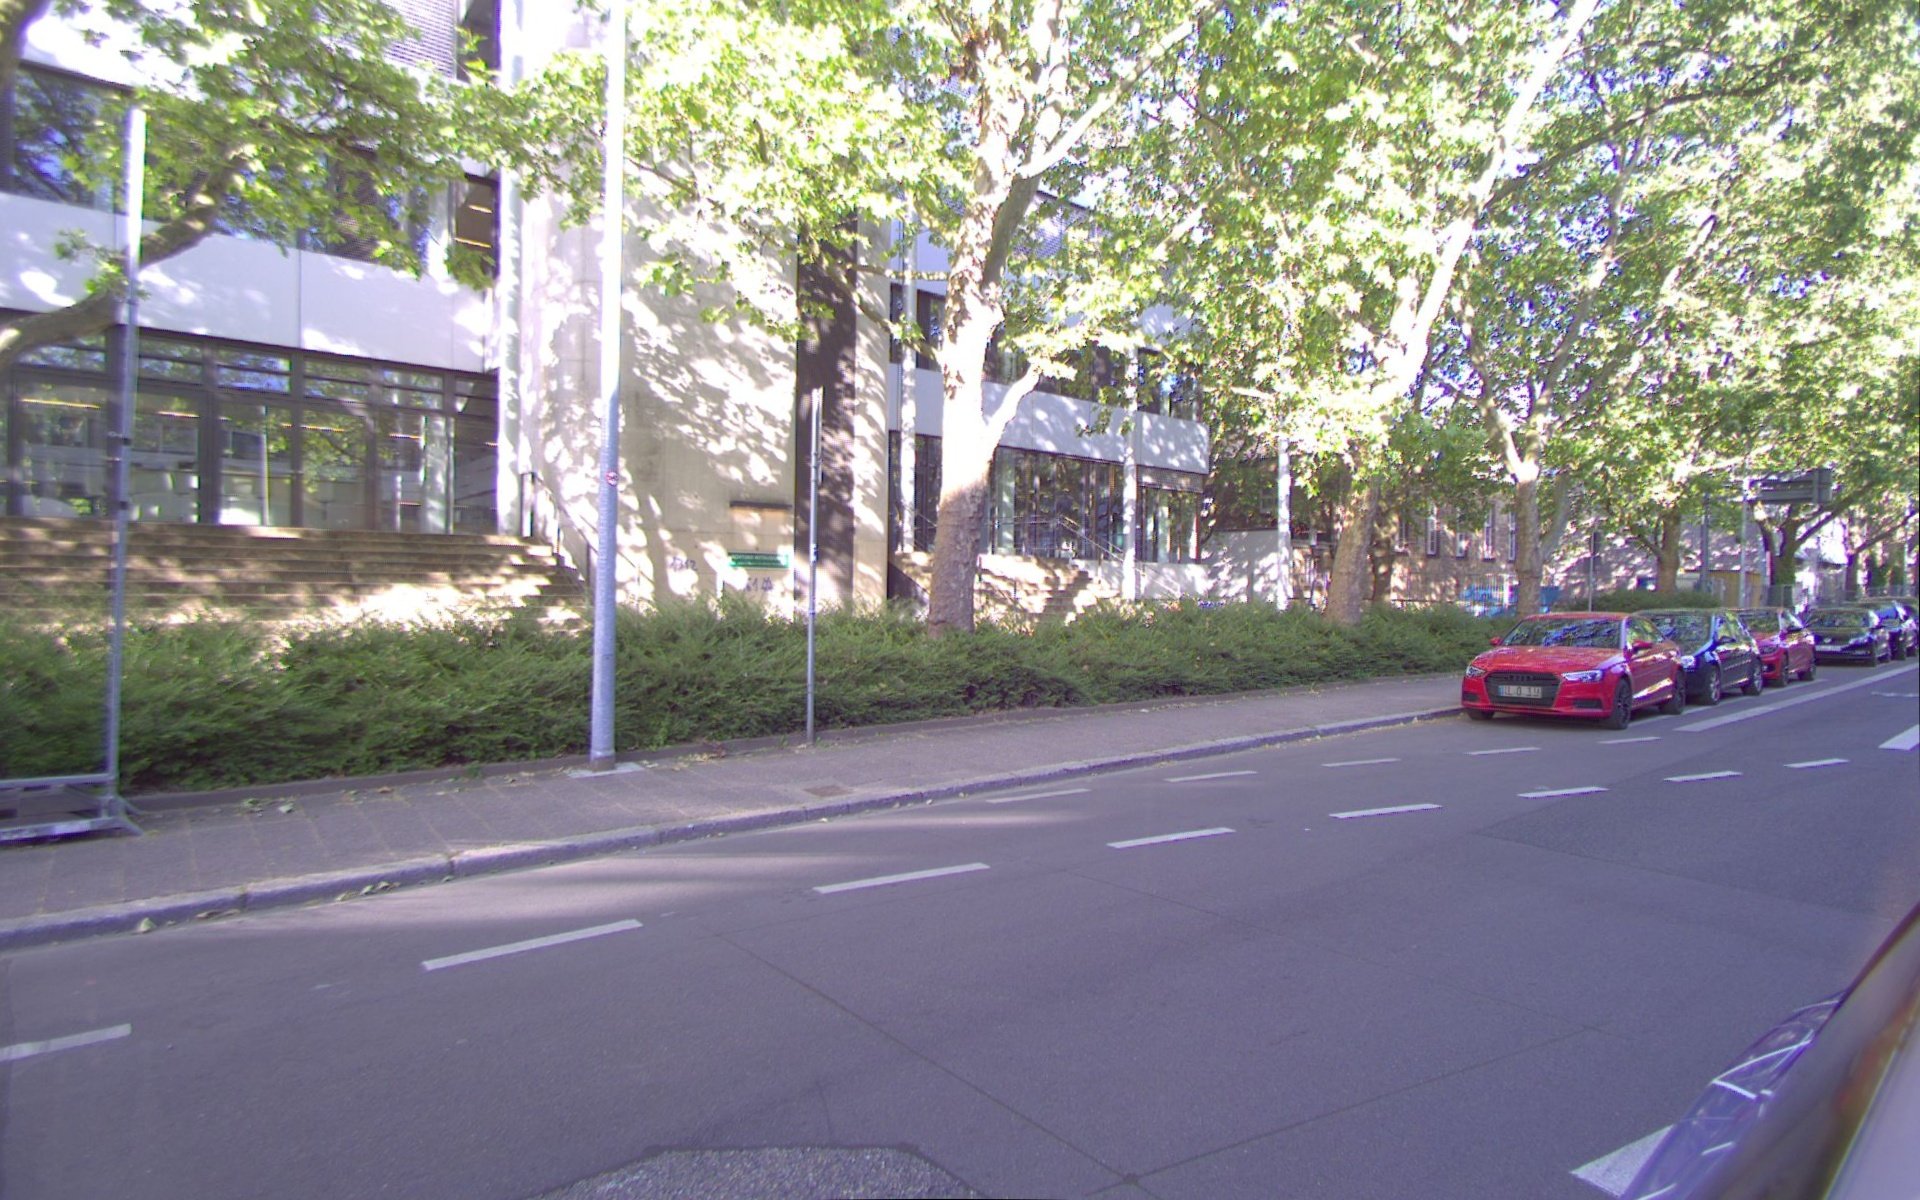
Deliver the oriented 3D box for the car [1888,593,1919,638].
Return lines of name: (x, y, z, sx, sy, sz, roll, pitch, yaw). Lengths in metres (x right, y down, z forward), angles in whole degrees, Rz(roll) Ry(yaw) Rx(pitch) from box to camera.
car: (35.991, 0.561, 37.447, 4.070, 1.585, 1.997, -1, 0, -41)

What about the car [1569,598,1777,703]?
car: (11.760, 0.727, 16.620, 3.581, 1.478, 1.997, -1, 0, -41)

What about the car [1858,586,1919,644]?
car: (31.279, 0.447, 33.309, 4.493, 1.809, 1.997, -1, 0, -41)

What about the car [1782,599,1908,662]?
car: (22.814, 0.720, 26.059, 3.527, 1.474, 1.997, -1, 0, -41)

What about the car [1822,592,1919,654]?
car: (26.539, 0.606, 29.180, 4.070, 1.621, 1.997, -1, 0, -41)

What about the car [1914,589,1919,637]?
car: (39.637, 0.481, 40.301, 3.930, 1.872, 1.997, -1, 0, -41)

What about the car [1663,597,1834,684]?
car: (15.661, 0.716, 20.051, 3.762, 1.517, 1.997, -1, 0, -41)

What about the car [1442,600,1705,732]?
car: (8.271, 0.750, 13.522, 3.930, 1.443, 1.906, -1, 1, -41)
